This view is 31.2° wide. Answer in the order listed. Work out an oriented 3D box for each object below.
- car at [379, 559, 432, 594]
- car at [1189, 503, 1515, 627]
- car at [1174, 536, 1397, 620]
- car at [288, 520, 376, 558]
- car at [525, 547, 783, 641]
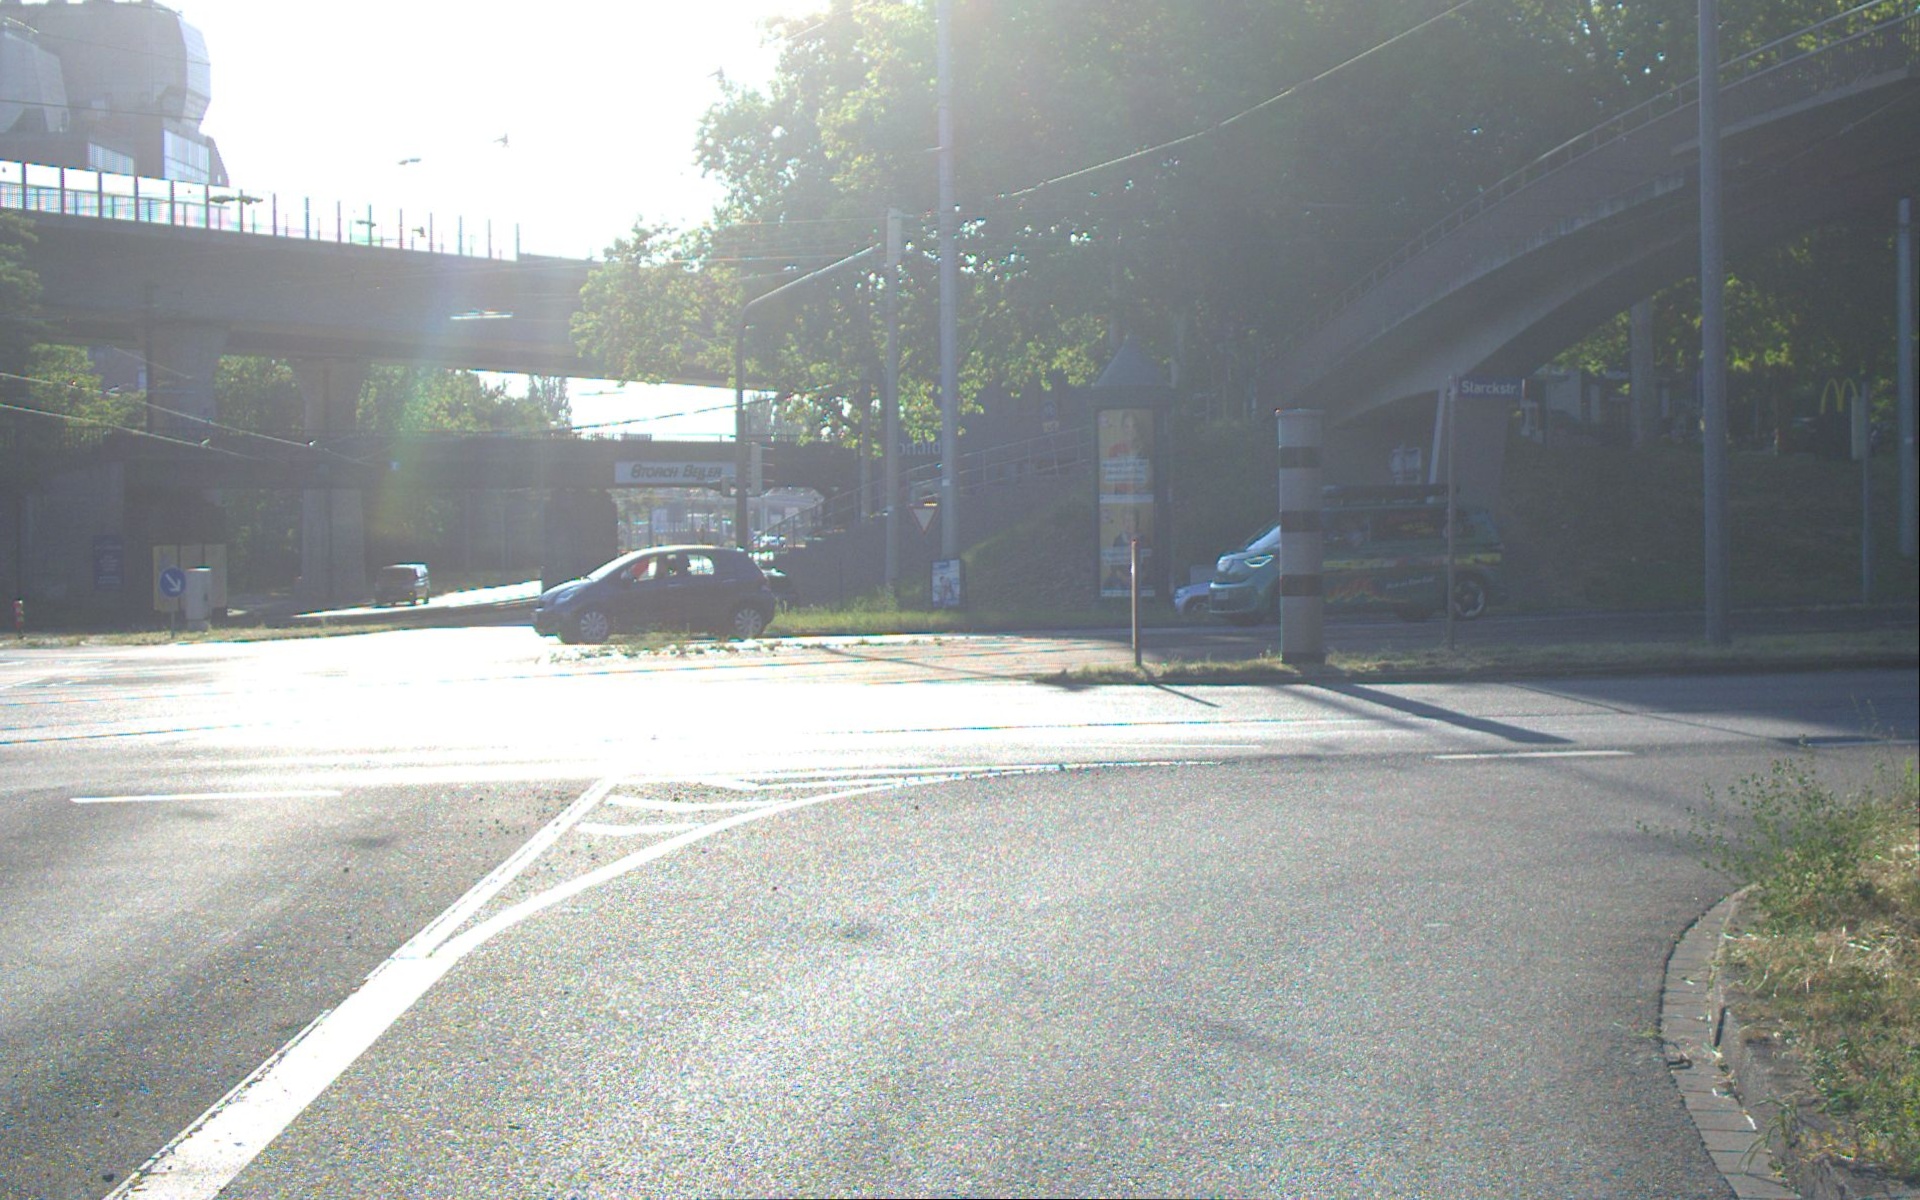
[{"bbox_3d":[-26.619,-1.162,165.034,1.711,1.647,4.095,0,1,3],"label":"car"},{"bbox_3d":[6.158,-0.556,53.998,4.688,1.899,2.001,0,1,-20],"label":"car"},{"bbox_3d":[6.456,-0.443,68.379,4.205,1.647,1.717,0,1,-3],"label":"car"},{"bbox_3d":[-30.215,-2.916,165.486,1.997,1.765,3.993,1,1,32],"label":"car"},{"bbox_3d":[-4.791,-0.108,53.761,3.720,1.417,1.697,0,1,-19],"label":"car"}]
